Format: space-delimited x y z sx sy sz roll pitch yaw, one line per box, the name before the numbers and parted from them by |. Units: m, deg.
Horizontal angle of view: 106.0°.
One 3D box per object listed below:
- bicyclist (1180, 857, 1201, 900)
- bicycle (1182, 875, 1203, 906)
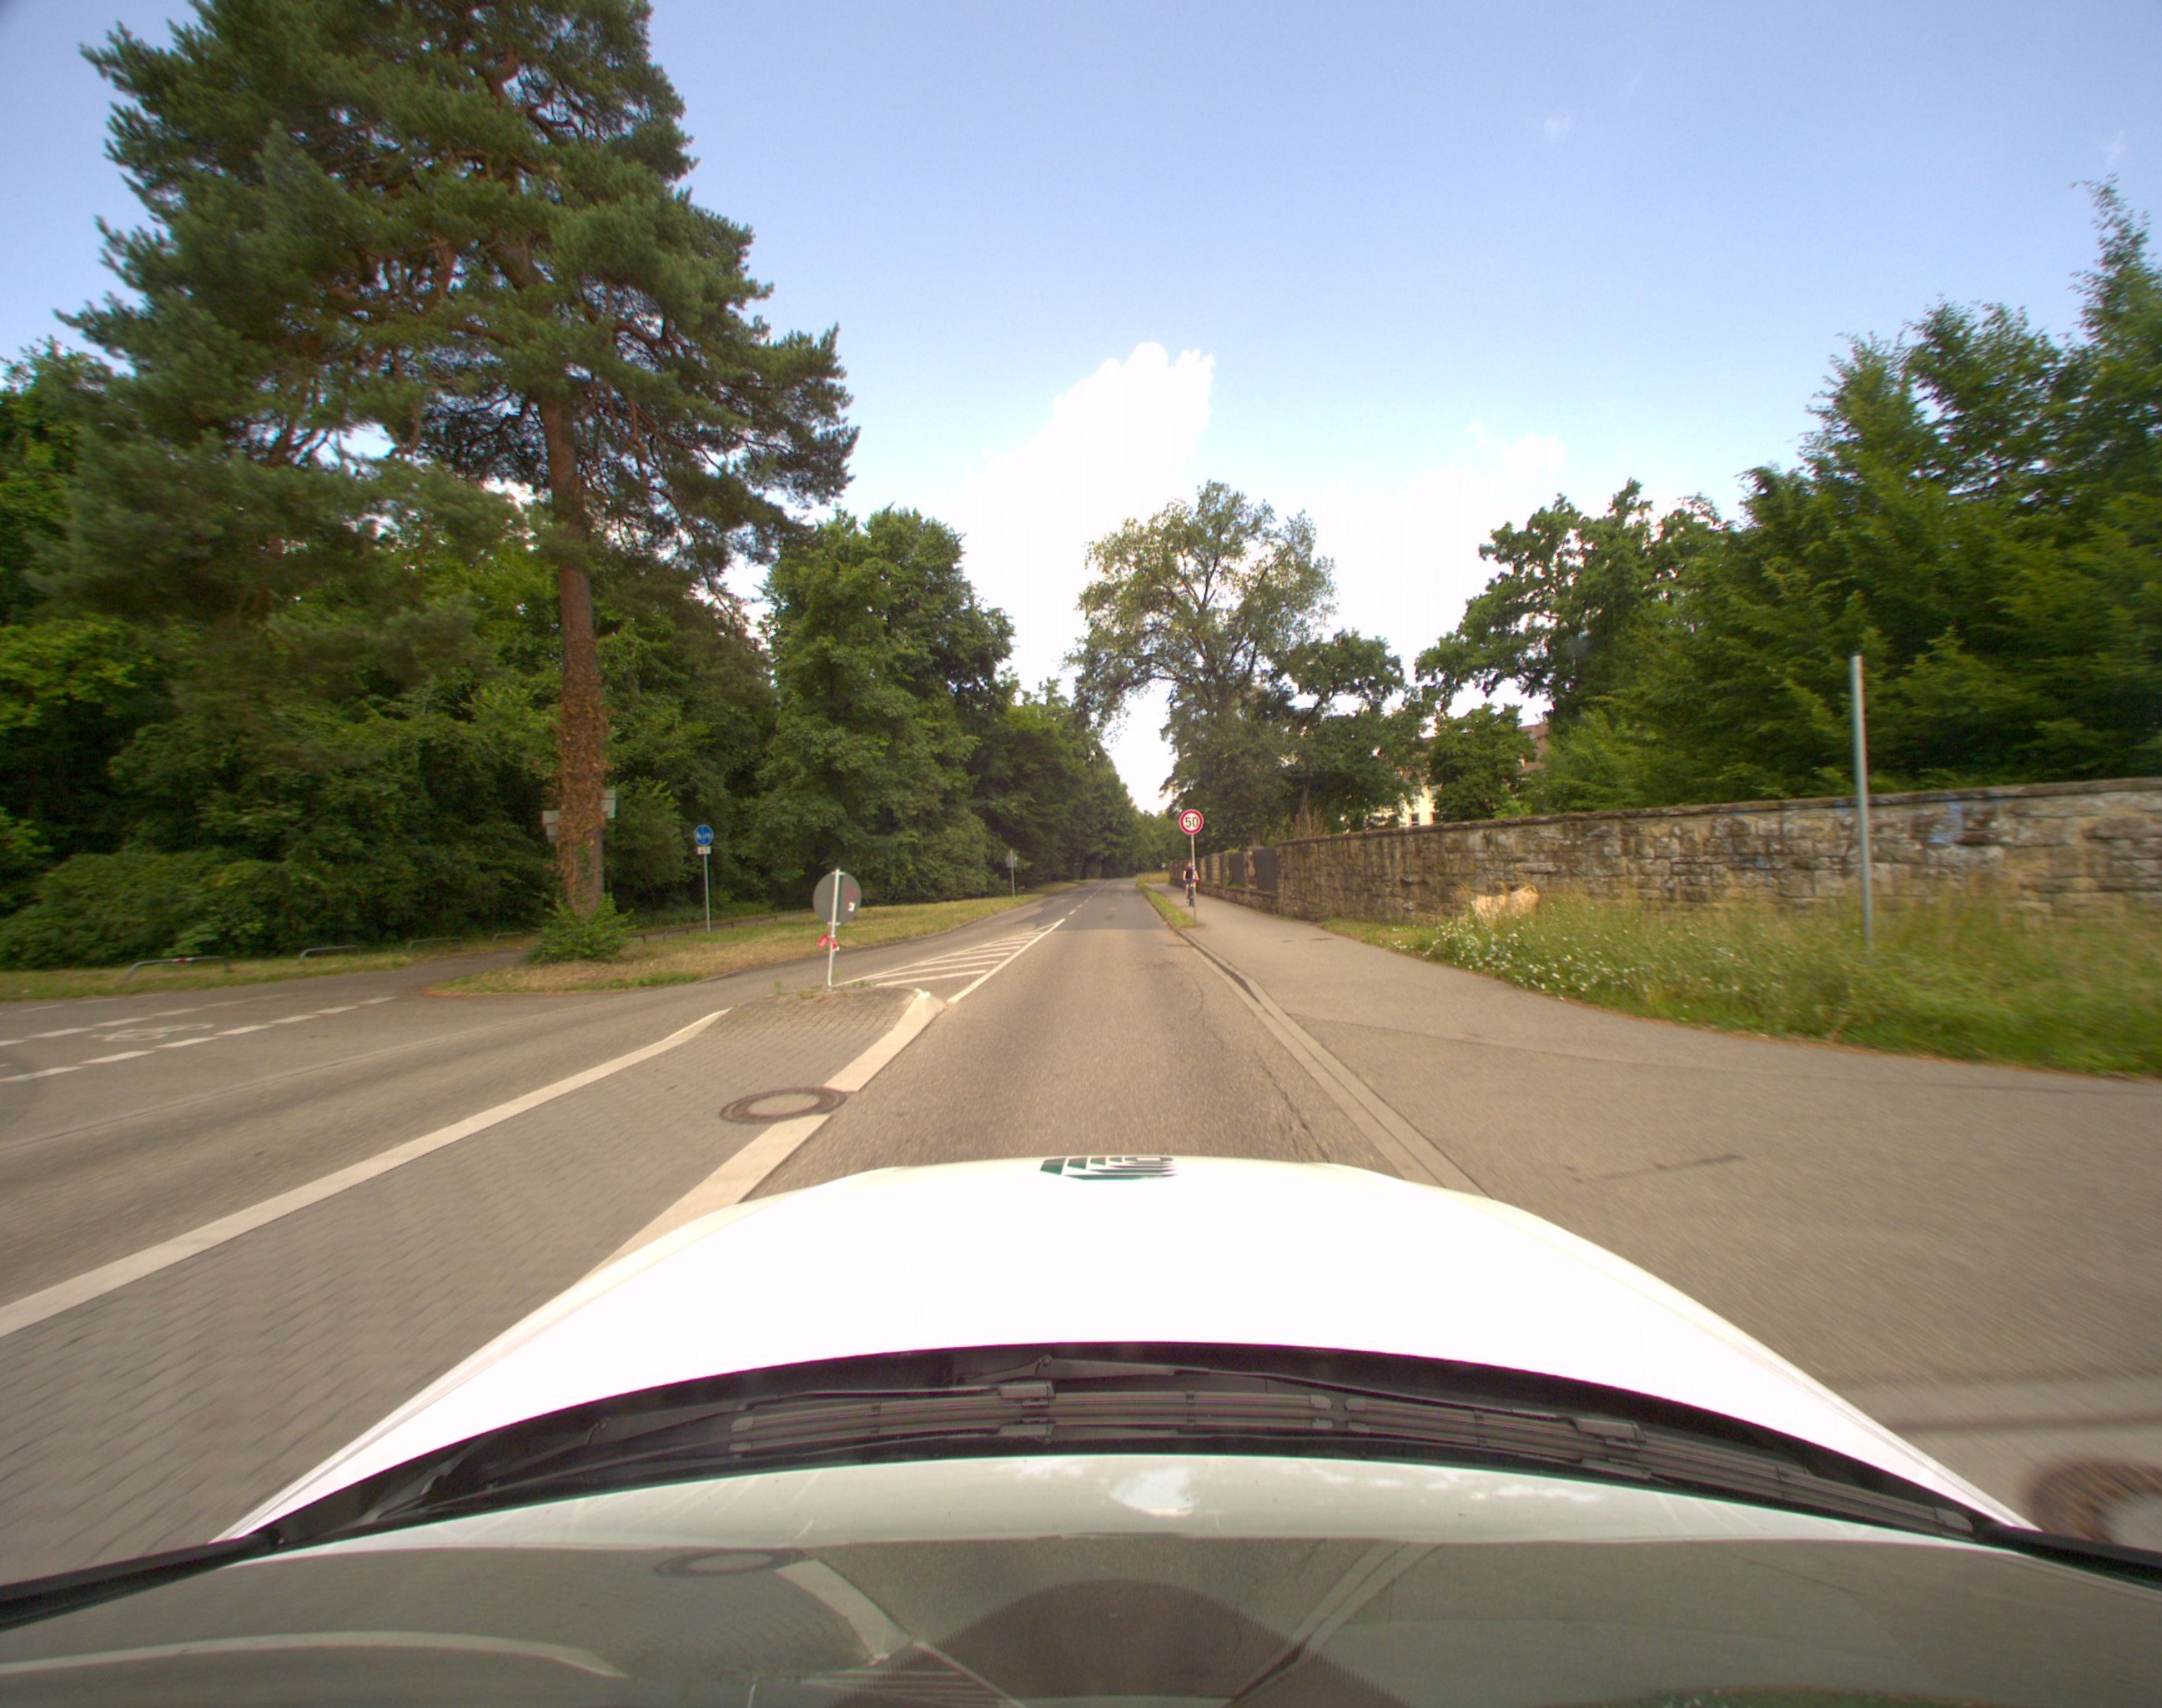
bicyclist | 4.177 0.934 31.110 0.567 1.588 1.206 -4 -1 3
bicycle | 4.196 1.359 30.798 0.556 1.073 2.158 -4 -1 3
